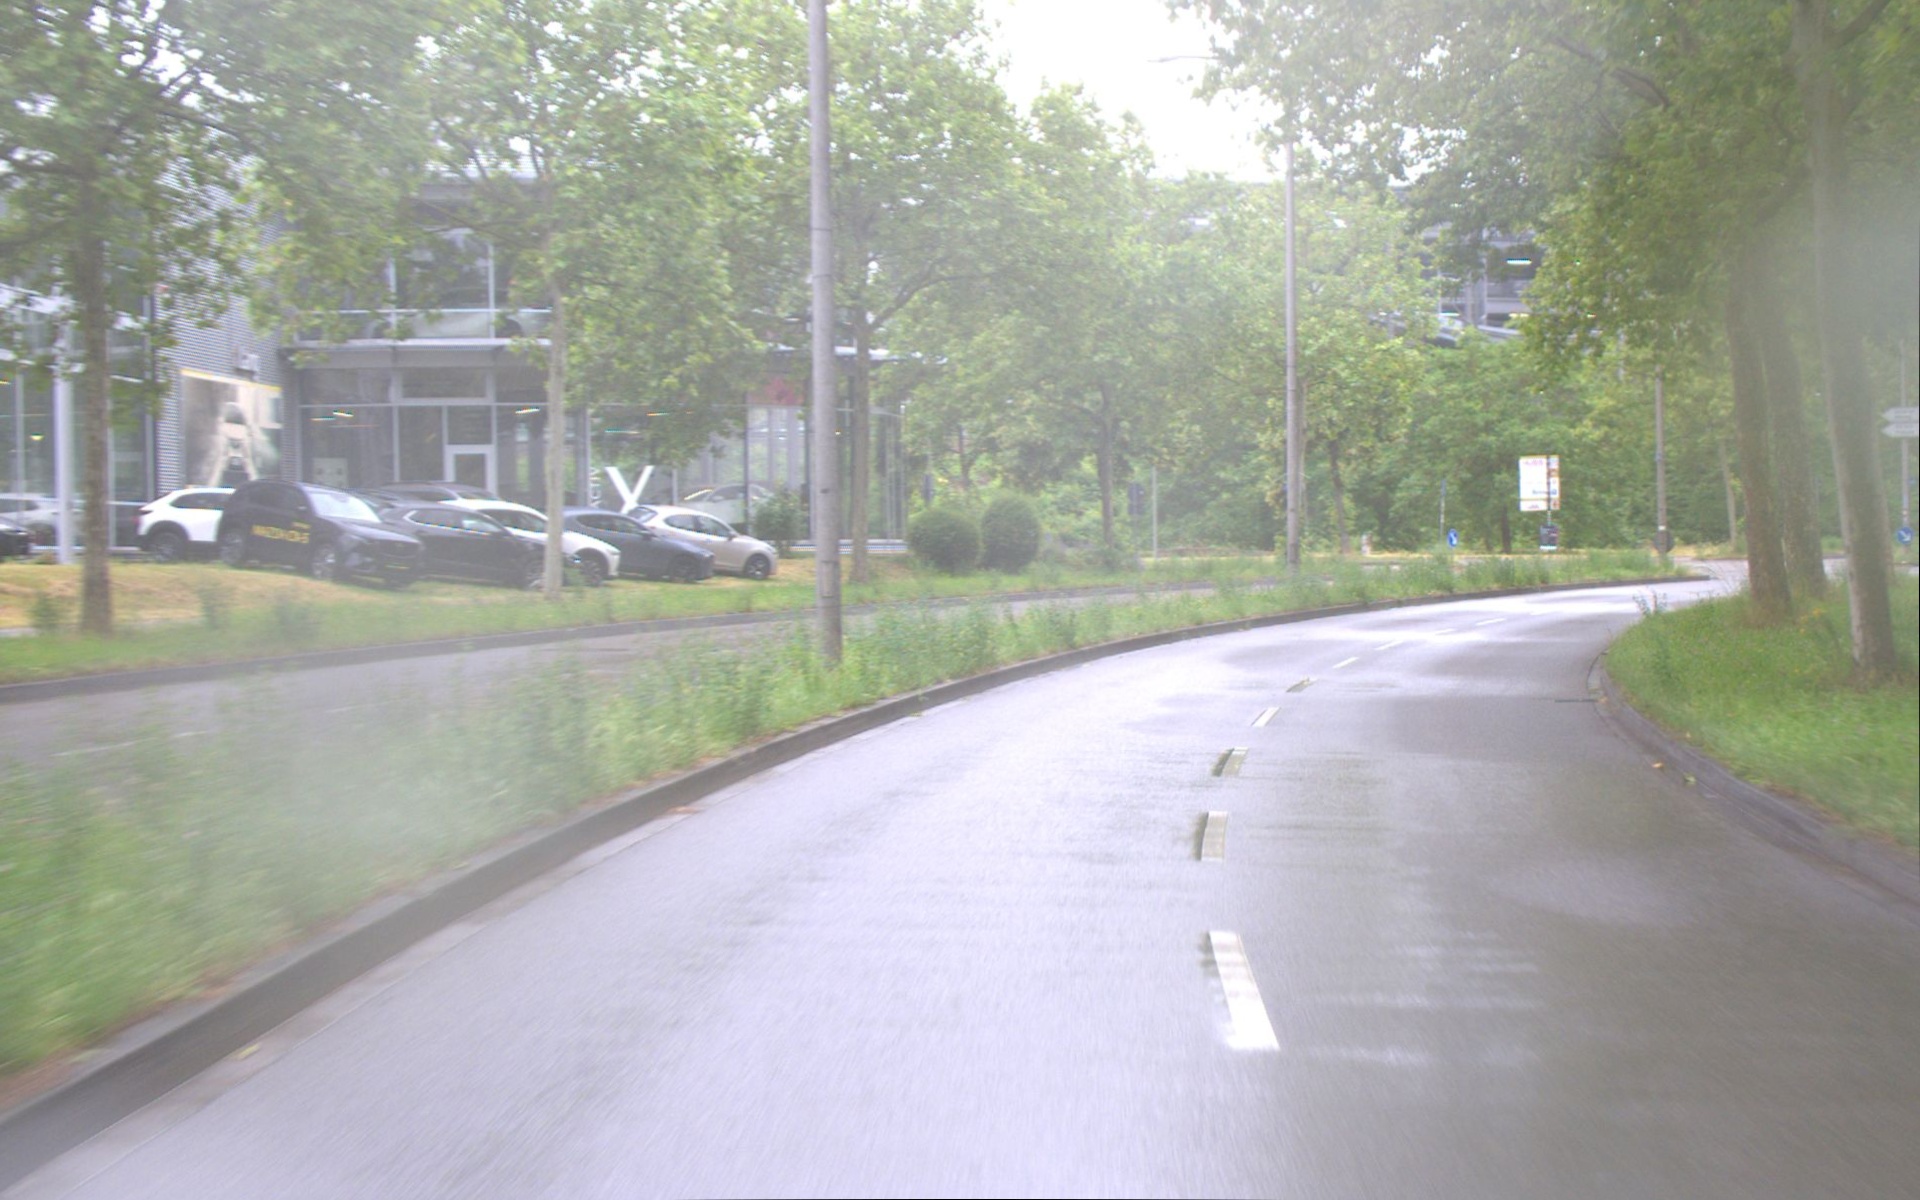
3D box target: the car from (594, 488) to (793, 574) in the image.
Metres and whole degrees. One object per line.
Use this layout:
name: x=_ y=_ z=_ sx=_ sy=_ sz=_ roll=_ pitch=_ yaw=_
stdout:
car: x=-5.998 y=-1.547 z=77.547 sx=3.987 sy=1.470 sz=1.785 roll=5 pitch=4 yaw=-34

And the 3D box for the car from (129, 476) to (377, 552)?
car: x=-13.941 y=-1.703 z=67.939 sx=4.423 sy=1.468 sz=1.919 roll=0 pitch=1 yaw=8

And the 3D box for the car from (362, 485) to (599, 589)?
car: x=-9.329 y=-1.229 z=66.815 sx=4.115 sy=1.473 sz=1.849 roll=6 pitch=4 yaw=-21

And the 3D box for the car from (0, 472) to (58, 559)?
car: x=-17.302 y=-1.488 z=57.637 sx=3.995 sy=1.352 sz=1.848 roll=2 pitch=3 yaw=-8

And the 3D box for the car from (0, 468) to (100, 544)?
car: x=-19.500 y=-1.871 z=68.137 sx=4.421 sy=1.468 sz=1.920 roll=0 pitch=1 yaw=1

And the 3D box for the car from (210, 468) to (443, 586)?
car: x=-11.667 y=-1.359 z=63.118 sx=4.435 sy=1.551 sz=1.842 roll=11 pitch=5 yaw=44

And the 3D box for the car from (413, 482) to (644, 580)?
car: x=-8.738 y=-1.394 z=69.701 sx=4.115 sy=1.473 sz=1.848 roll=5 pitch=4 yaw=-29

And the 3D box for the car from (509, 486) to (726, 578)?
car: x=-7.316 y=-1.456 z=73.449 sx=4.115 sy=1.417 sz=1.848 roll=5 pitch=4 yaw=-26
